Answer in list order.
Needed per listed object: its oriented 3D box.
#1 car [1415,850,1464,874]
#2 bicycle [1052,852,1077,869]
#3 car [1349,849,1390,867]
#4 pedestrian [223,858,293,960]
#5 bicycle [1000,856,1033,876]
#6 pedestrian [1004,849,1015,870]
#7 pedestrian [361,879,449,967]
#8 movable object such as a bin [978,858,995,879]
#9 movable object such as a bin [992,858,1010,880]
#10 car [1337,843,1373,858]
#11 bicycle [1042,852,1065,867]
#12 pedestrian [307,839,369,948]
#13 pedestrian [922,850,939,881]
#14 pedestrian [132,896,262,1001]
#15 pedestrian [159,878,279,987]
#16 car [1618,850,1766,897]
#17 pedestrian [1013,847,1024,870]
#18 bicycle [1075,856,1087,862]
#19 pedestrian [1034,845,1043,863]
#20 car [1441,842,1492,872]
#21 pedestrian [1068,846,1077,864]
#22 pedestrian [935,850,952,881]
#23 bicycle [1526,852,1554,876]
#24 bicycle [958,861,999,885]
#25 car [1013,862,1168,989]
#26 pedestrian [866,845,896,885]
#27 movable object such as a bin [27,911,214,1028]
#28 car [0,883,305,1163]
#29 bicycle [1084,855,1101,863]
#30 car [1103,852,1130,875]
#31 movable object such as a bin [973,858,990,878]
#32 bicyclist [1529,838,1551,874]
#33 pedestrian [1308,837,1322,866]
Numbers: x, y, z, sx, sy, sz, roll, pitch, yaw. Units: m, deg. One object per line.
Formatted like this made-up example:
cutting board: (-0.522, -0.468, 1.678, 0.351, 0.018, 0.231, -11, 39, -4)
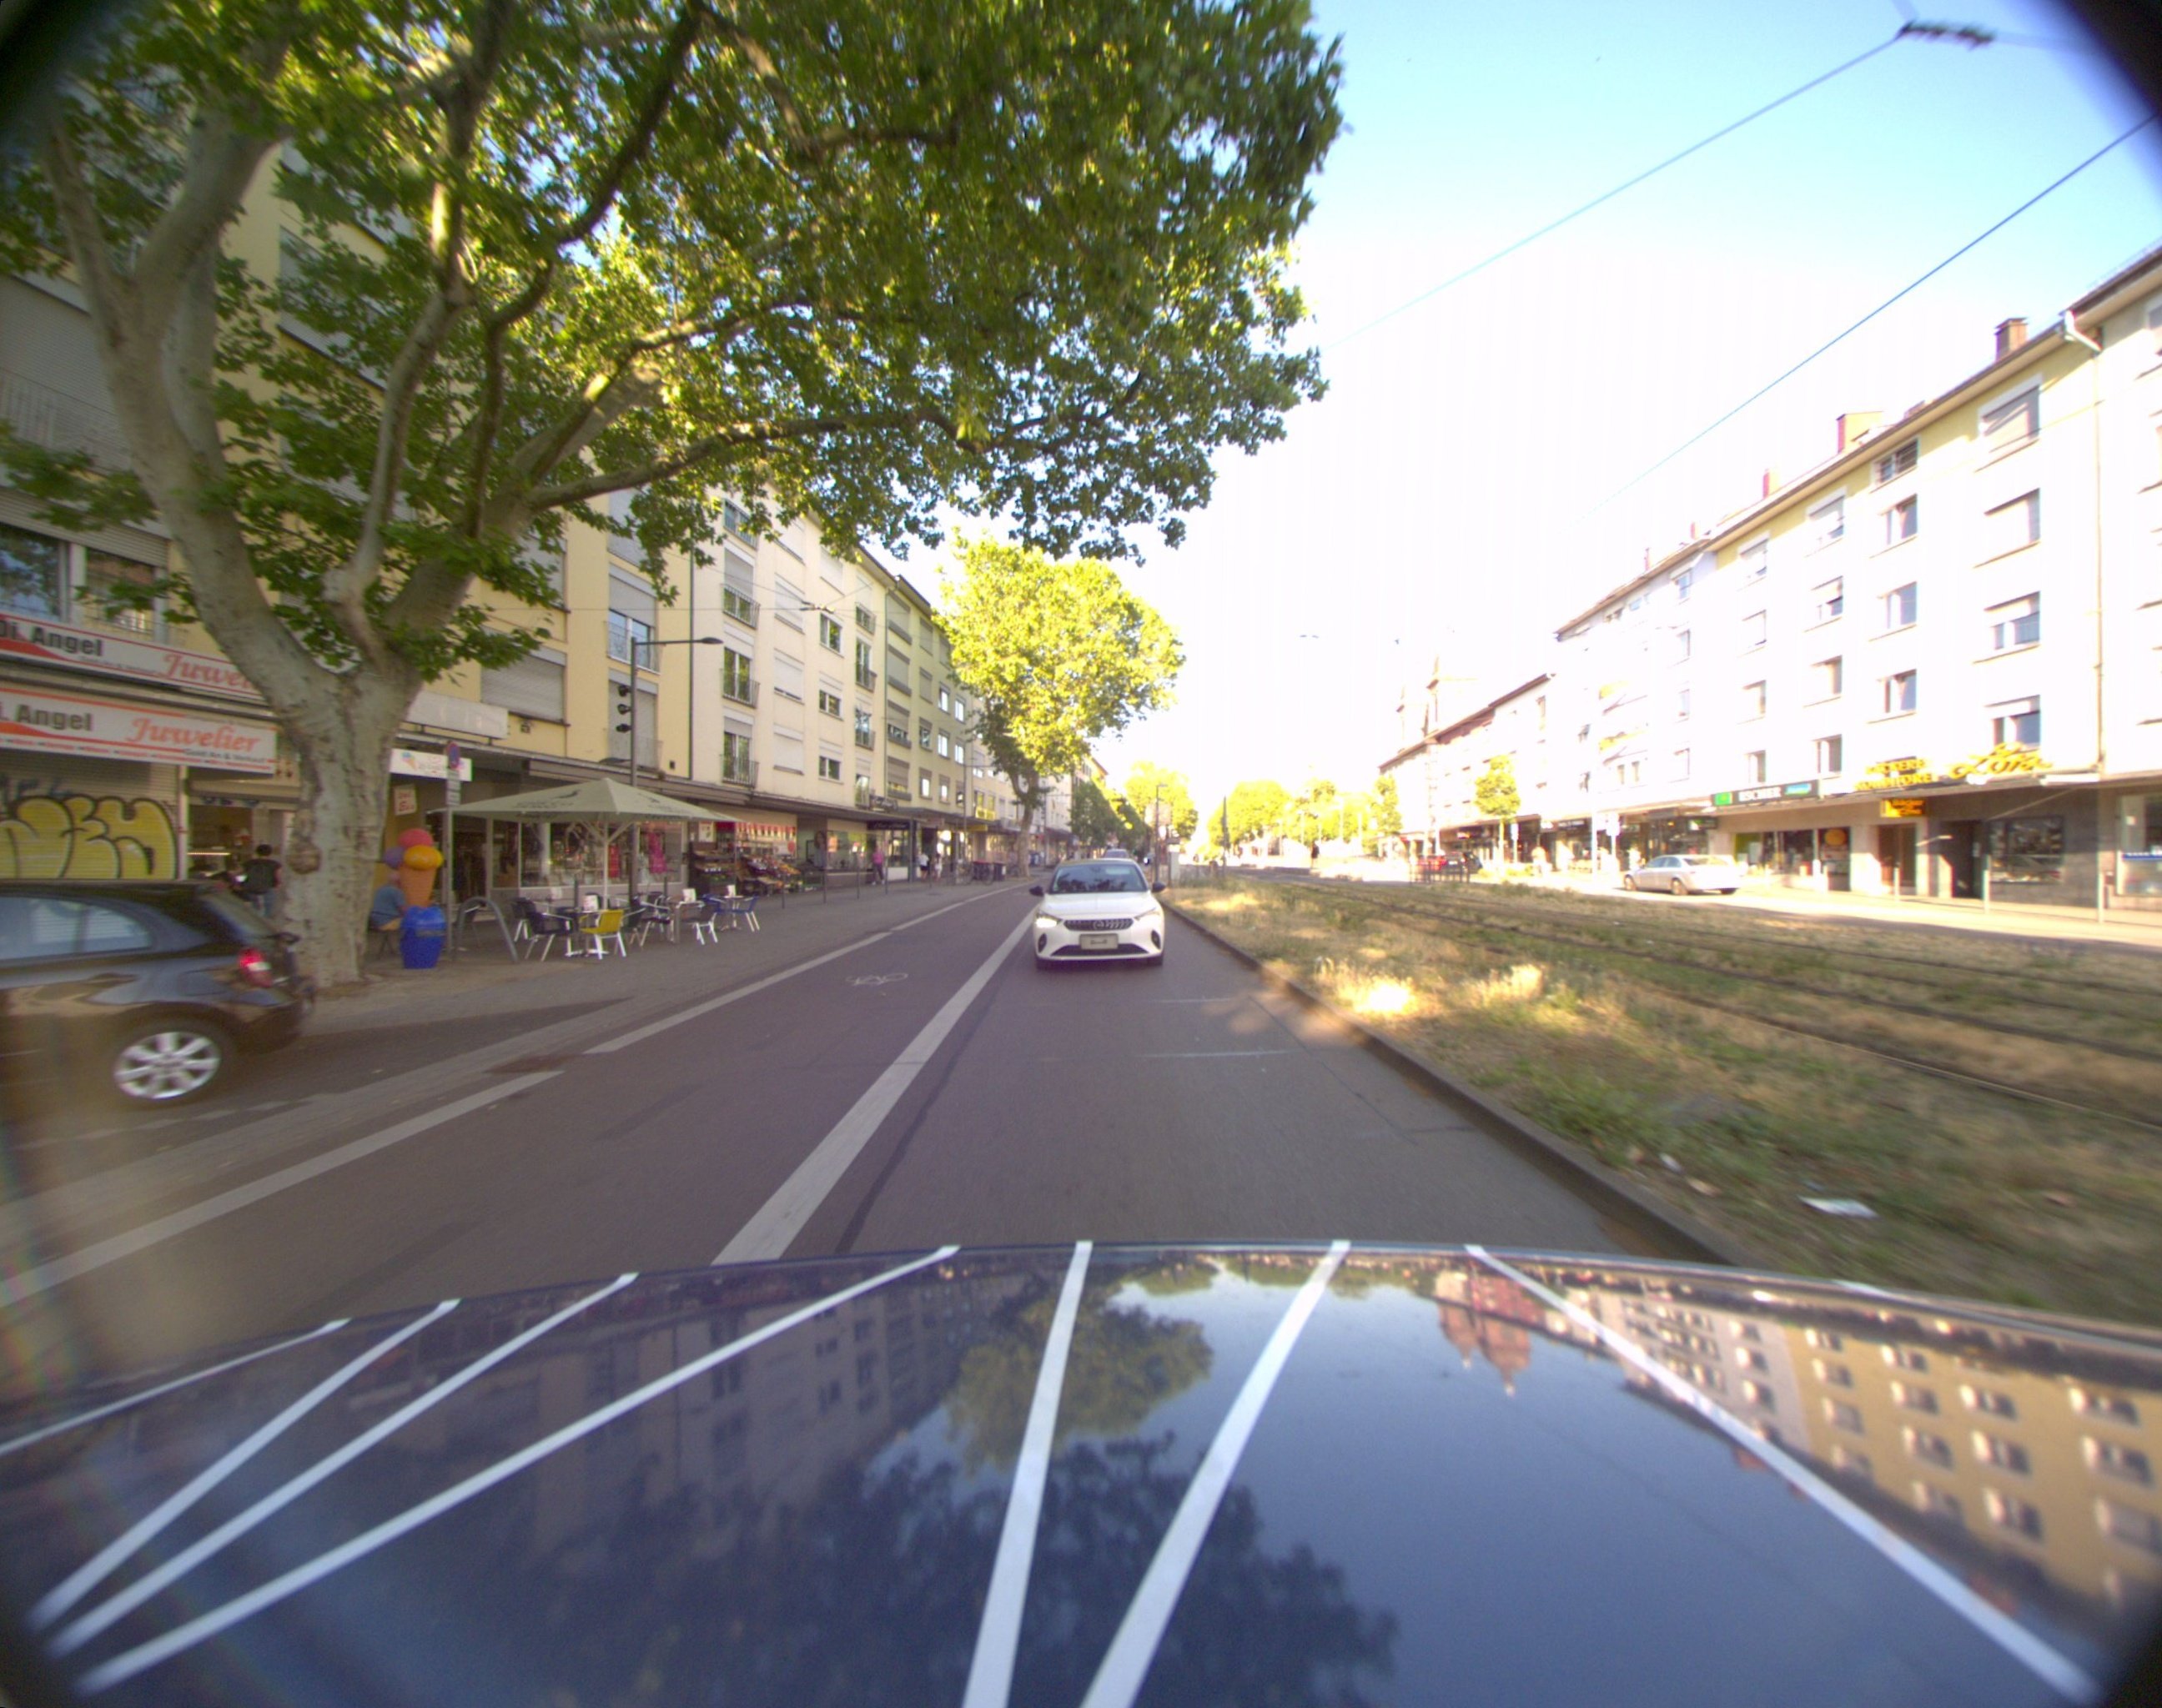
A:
car: (25.312, 0.554, 53.660, 3.777, 1.482, 1.859, -3, 1, -44)
bicycle: (-1.360, 0.530, 62.782, 1.788, 1.304, 0.695, 6, 2, 20)
car: (28.177, 0.391, 74.206, 4.007, 1.521, 1.865, -3, 1, -37)
pedestrian: (-13.133, 0.849, 12.128, 0.625, 1.538, 0.638, 4, 3, 31)
bicycle: (-3.718, 0.687, 43.901, 1.721, 1.111, 0.745, 0, 4, 8)
pedestrian: (-5.082, 0.389, 54.230, 0.541, 1.493, 0.896, 2, 0, 8)
pedestrian: (-9.962, 1.000, 11.223, 0.607, 1.218, 0.745, -1, 1, 1)
movable object such as a bin: (-5.178, 0.808, 41.539, 0.723, 1.066, 0.644, 6, 2, 5)
movable object such as a bin: (-4.353, 0.814, 41.515, 0.723, 1.096, 0.644, 4, 2, 14)
car: (29.363, -0.391, 81.401, 4.007, 1.477, 1.739, -3, 1, -39)
bicycle: (-2.334, 0.483, 64.042, 1.795, 1.118, 0.663, 4, 1, -19)
pedestrian: (-12.594, 0.646, 12.882, 0.635, 1.793, 0.628, 1, 1, 36)
pedestrian: (-7.613, 0.576, 38.428, 0.623, 1.577, 0.627, 2, 1, 6)
pedestrian: (-10.295, 1.075, 8.877, 0.584, 1.109, 0.751, -2, 1, 1)
pedestrian: (-10.884, 0.969, 9.623, 0.584, 1.267, 0.759, -2, 1, 1)
car: (21.778, 0.631, 27.371, 1.998, 1.469, 4.412, -2, 0, 5)
pedestrian: (-4.399, 0.335, 53.934, 0.547, 1.619, 0.896, 2, 0, 8)
bicycle: (0.010, 0.564, 84.175, 0.840, 0.569, 1.758, 1, 0, -14)
pedestrian: (-3.947, 0.007, 70.358, 0.569, 1.665, 1.070, 2, 1, 8)
car: (25.757, 0.157, 50.724, 3.777, 1.789, 1.859, -3, 1, -44)
pedestrian: (-0.881, 0.112, 79.739, 0.774, 1.789, 0.931, 3, 1, 9)
pedestrian: (-6.961, 0.578, 38.525, 0.636, 1.577, 0.627, 2, 1, 6)
bicycle: (25.061, 0.547, 41.531, 0.706, 1.152, 2.200, -3, 2, 16)
bicycle: (-5.091, 0.917, 37.643, 1.909, 1.098, 0.519, 2, 1, 14)
car: (0.136, 0.882, 11.115, 1.826, 1.433, 3.828, -2, 0, 0)
pedestrian: (-9.195, 0.492, 34.959, 0.969, 1.753, 1.134, 1, 2, 8)
movable object such as a bin: (-9.903, 1.152, 7.891, 0.930, 1.017, 0.838, -3, 1, -31)
car: (-7.412, 1.035, 4.597, 3.615, 1.531, 1.737, -1, 1, -40)
bicycle: (1.265, 0.558, 83.979, 1.762, 0.773, 0.702, 1, 0, -14)
car: (2.396, 0.617, 50.451, 1.718, 1.390, 4.001, -2, 0, 4)
movable object such as a bin: (-5.545, 0.771, 42.345, 0.722, 1.066, 0.645, 2, 2, 26)
bicyclist: (24.974, 0.092, 41.358, 0.693, 1.876, 1.058, -3, 2, 17)
pedestrian: (14.941, -0.141, 48.504, 0.743, 1.838, 0.590, 0, 1, 2)
